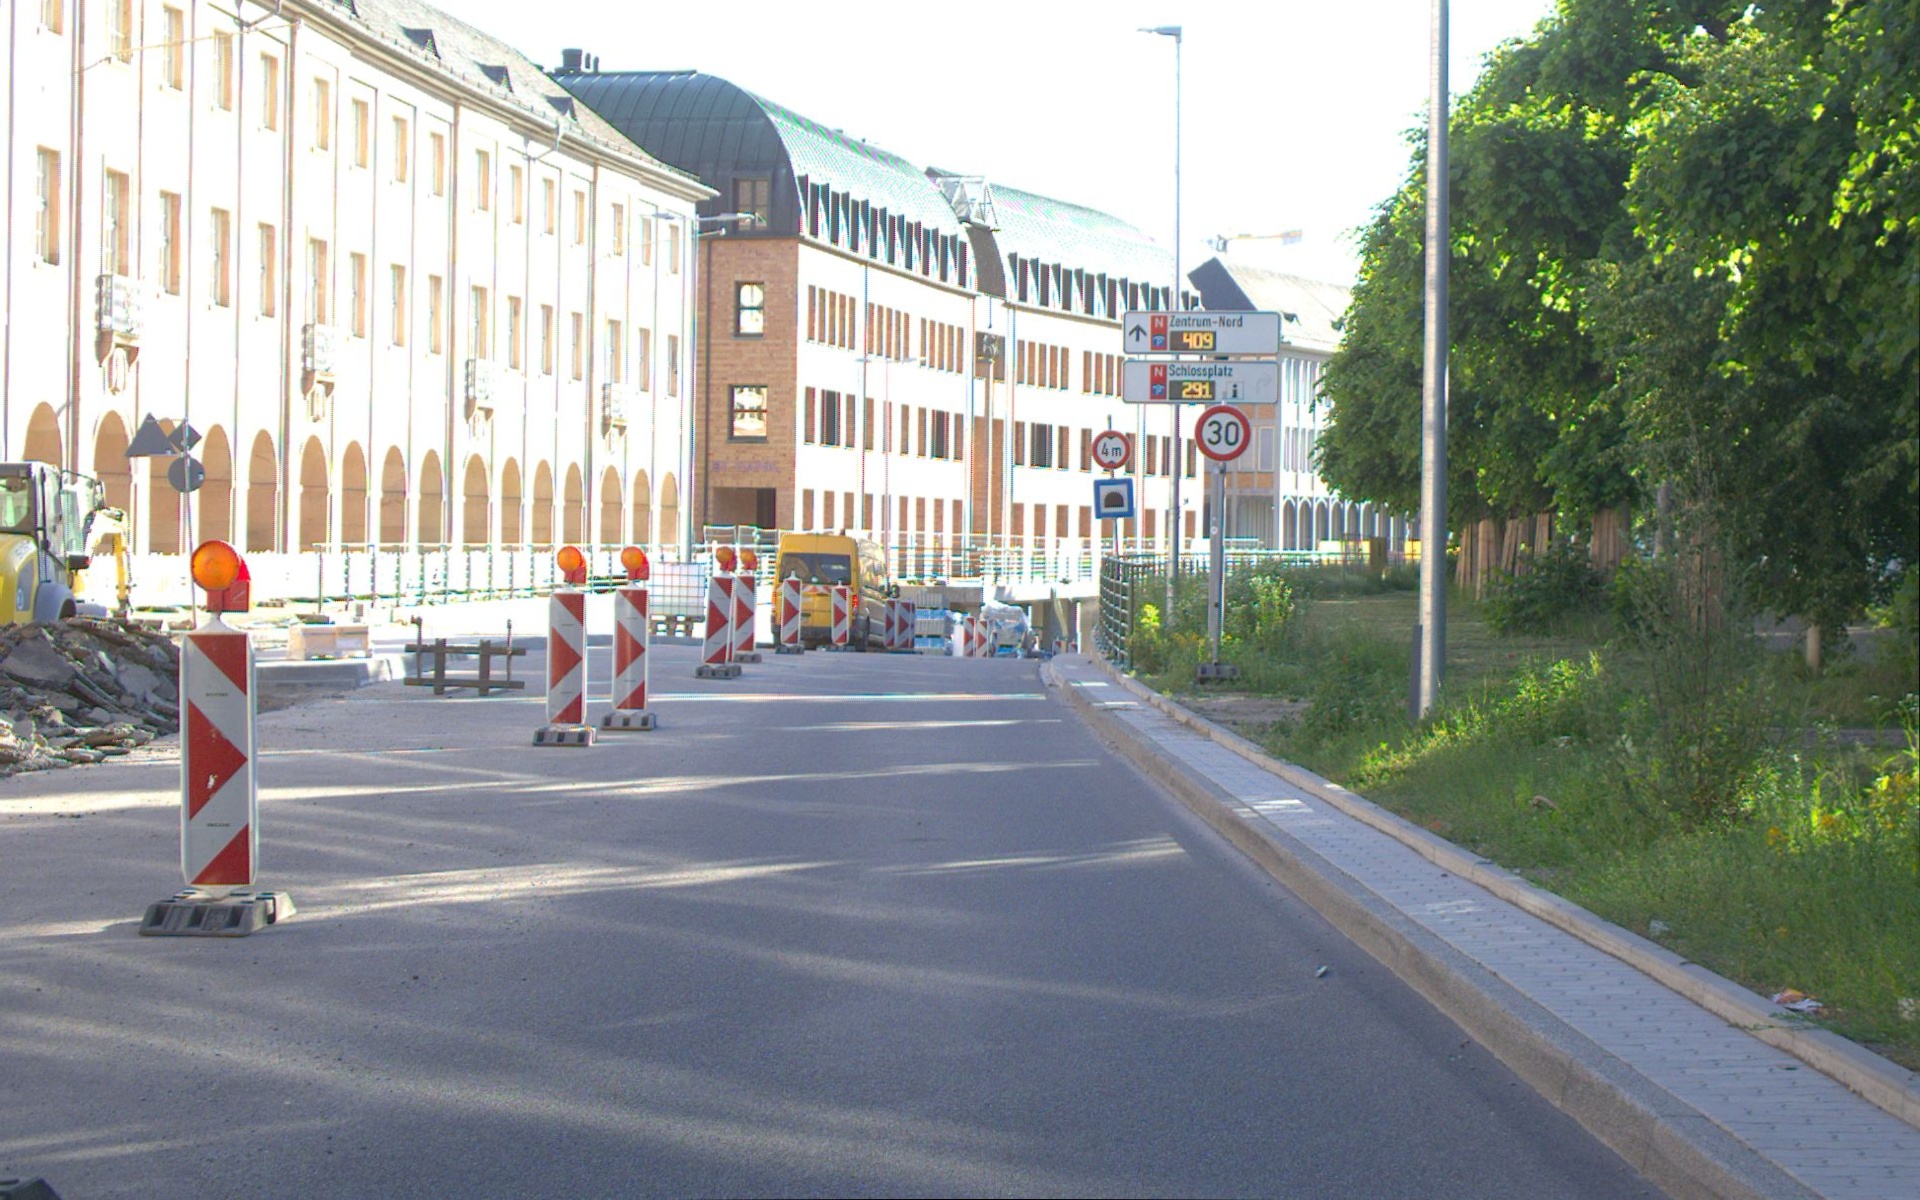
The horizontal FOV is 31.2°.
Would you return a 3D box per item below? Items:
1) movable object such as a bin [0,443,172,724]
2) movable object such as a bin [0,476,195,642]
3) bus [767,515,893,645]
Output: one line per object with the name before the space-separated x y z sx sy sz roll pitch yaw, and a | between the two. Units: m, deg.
movable object such as a bin | -9.104 -0.242 32.512 2.074 2.467 4.617 1 2 2
movable object such as a bin | -13.278 -0.626 51.013 2.546 2.340 4.459 1 1 4
bus | -2.813 -0.402 75.435 2.073 2.677 4.682 1 -1 6
